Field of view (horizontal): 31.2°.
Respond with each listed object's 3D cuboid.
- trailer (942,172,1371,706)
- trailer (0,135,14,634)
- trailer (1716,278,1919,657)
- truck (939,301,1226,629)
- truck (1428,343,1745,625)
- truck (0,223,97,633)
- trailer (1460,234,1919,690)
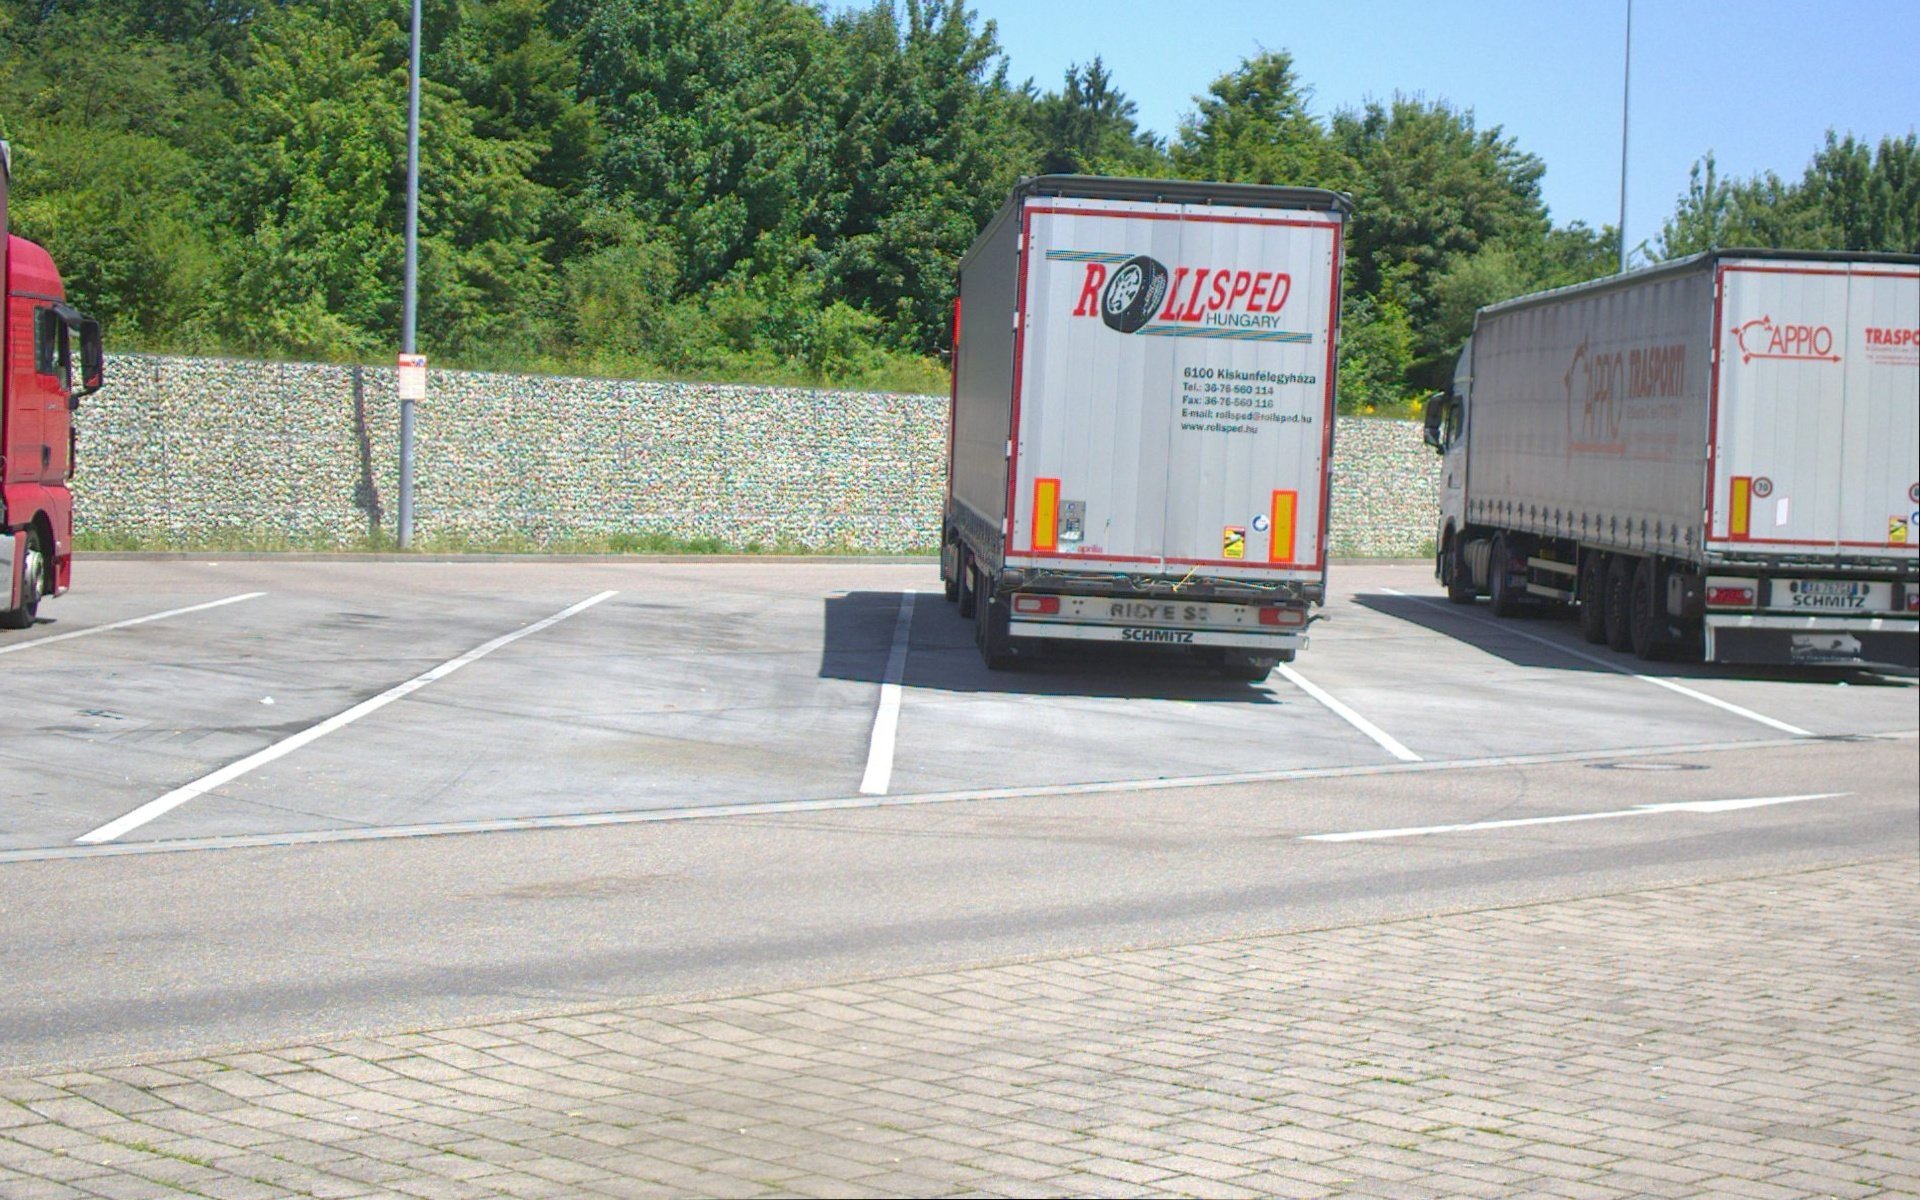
[{"bbox_3d":[1.459,-1.564,33.113,2.858,3.958,13.765,2,3,-1],"label":"trailer"},{"bbox_3d":[-9.162,-1.463,21.370,2.821,4.057,13.765,2,3,-1],"label":"trailer"},{"bbox_3d":[11.783,-1.500,39.382,2.858,4.095,13.765,2,3,-1],"label":"trailer"},{"bbox_3d":[1.273,-1.569,39.314,2.865,3.351,5.975,2,3,-1],"label":"truck"},{"bbox_3d":[8.083,-1.565,45.135,2.865,3.351,5.975,2,3,-1],"label":"truck"},{"bbox_3d":[-9.251,-1.453,28.189,2.812,3.351,5.975,2,3,-1],"label":"truck"},{"bbox_3d":[8.186,-1.585,38.368,2.858,4.095,13.765,2,3,-1],"label":"trailer"}]
